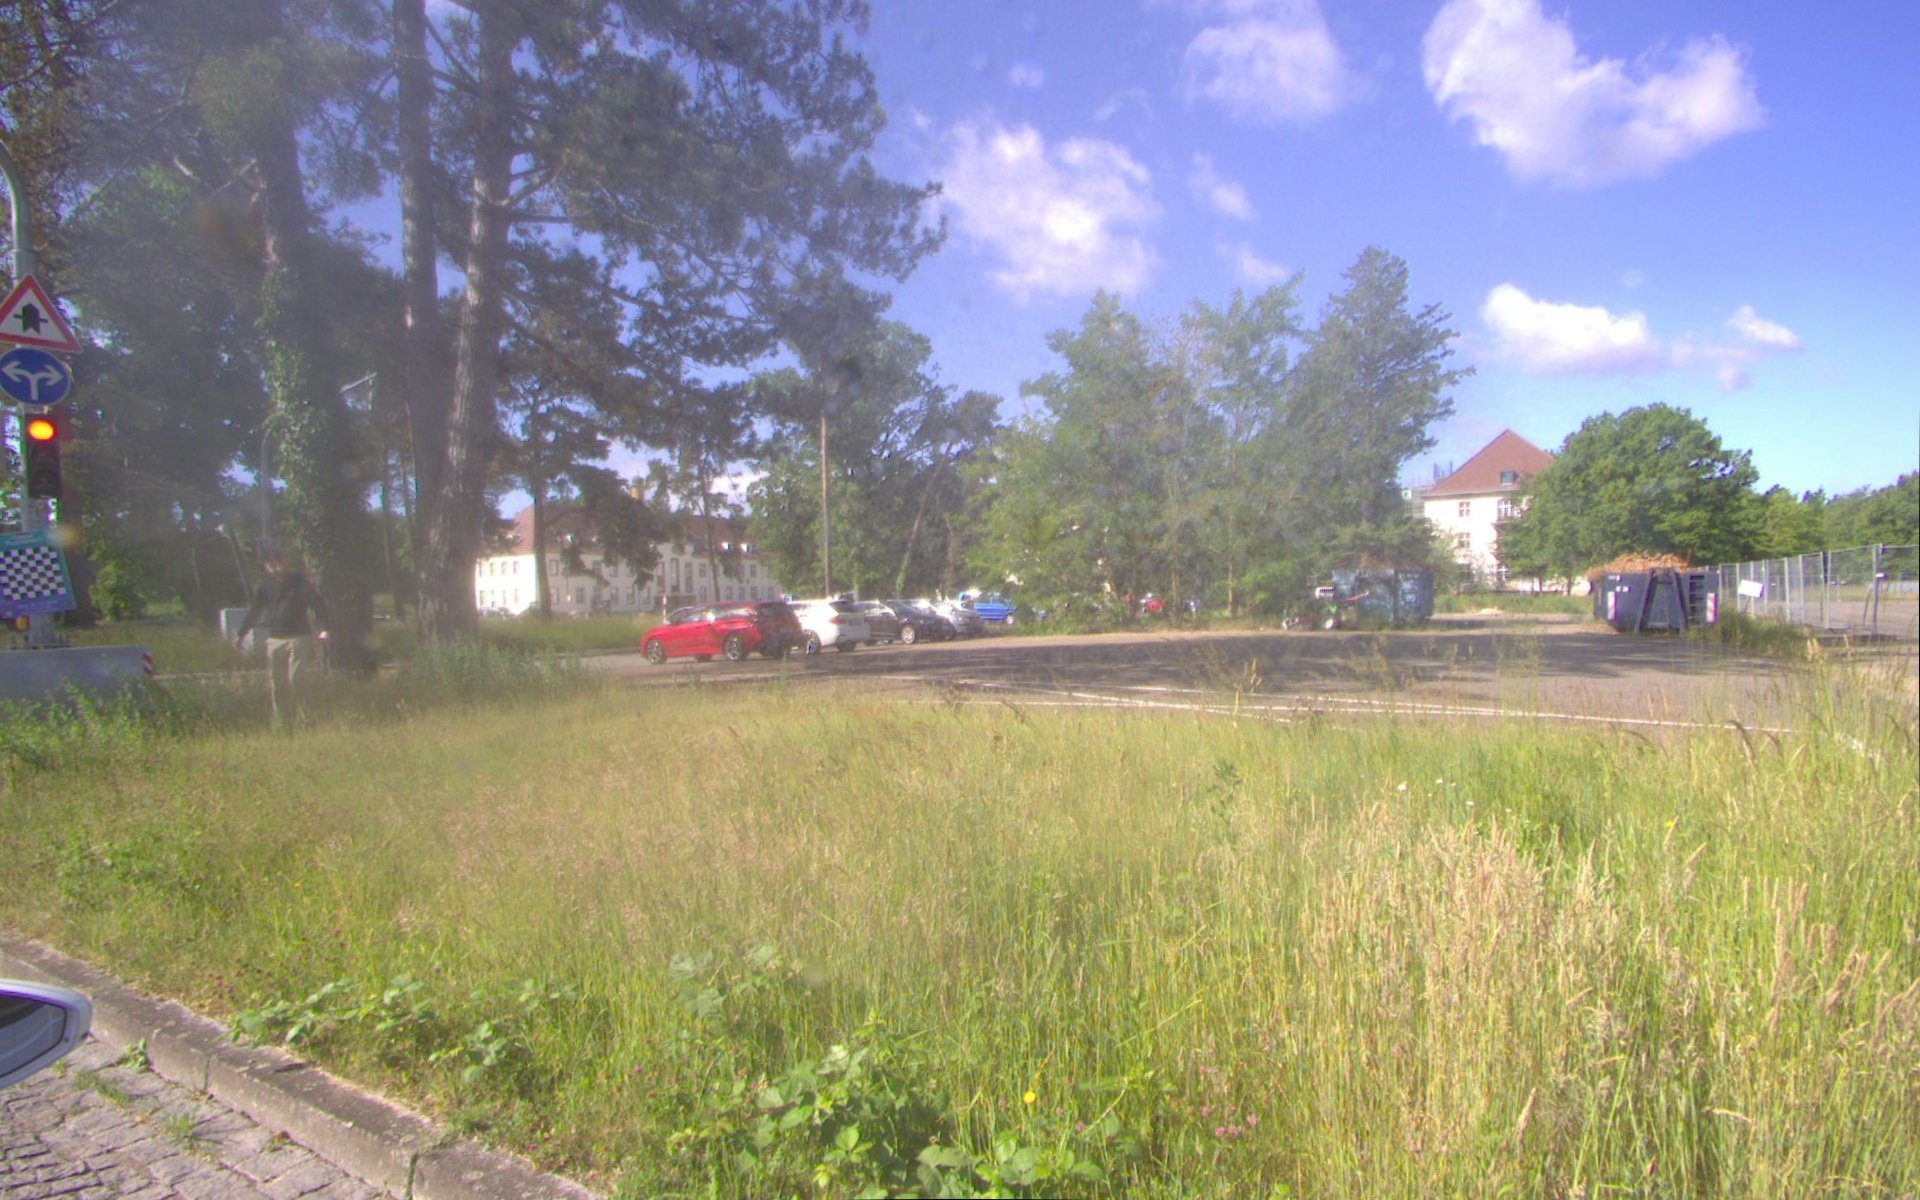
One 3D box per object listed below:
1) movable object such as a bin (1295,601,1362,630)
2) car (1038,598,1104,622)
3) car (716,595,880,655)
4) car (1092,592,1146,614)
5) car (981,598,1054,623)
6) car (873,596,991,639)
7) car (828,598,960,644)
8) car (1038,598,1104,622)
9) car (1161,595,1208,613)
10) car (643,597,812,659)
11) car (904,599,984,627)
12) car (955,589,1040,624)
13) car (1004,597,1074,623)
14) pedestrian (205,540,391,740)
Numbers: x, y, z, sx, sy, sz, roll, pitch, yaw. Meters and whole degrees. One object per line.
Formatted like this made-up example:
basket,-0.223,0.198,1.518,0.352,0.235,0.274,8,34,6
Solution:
movable object such as a bin,10.509,0.448,28.545,1.696,0.762,1.143,-1,0,25
car,7.680,0.704,69.359,4.180,1.568,1.720,-1,-1,32
car,-4.422,0.689,27.219,4.179,1.396,1.776,-3,-1,30
car,11.996,0.264,75.739,3.681,1.568,1.705,-1,-1,32
car,3.511,0.647,61.527,4.180,1.443,1.720,-1,-1,32
car,-0.984,0.606,34.481,3.739,1.390,1.720,-1,-1,34
car,-2.134,0.661,31.786,3.987,1.332,1.612,-1,1,33
car,7.666,0.704,69.368,4.180,1.568,1.720,-1,-1,32
car,19.632,0.370,87.555,3.681,1.568,1.705,-1,-1,32
car,-5.754,0.711,24.657,4.071,1.417,1.652,-2,-1,32
car,-0.898,0.710,55.049,4.180,1.487,1.720,-1,-1,32
car,2.190,0.399,59.203,4.676,1.973,1.982,-1,-1,32
car,5.054,0.649,64.129,4.180,1.568,1.720,-1,-1,32
pedestrian,-6.423,0.361,9.807,1.150,1.820,1.061,-1,1,-11
